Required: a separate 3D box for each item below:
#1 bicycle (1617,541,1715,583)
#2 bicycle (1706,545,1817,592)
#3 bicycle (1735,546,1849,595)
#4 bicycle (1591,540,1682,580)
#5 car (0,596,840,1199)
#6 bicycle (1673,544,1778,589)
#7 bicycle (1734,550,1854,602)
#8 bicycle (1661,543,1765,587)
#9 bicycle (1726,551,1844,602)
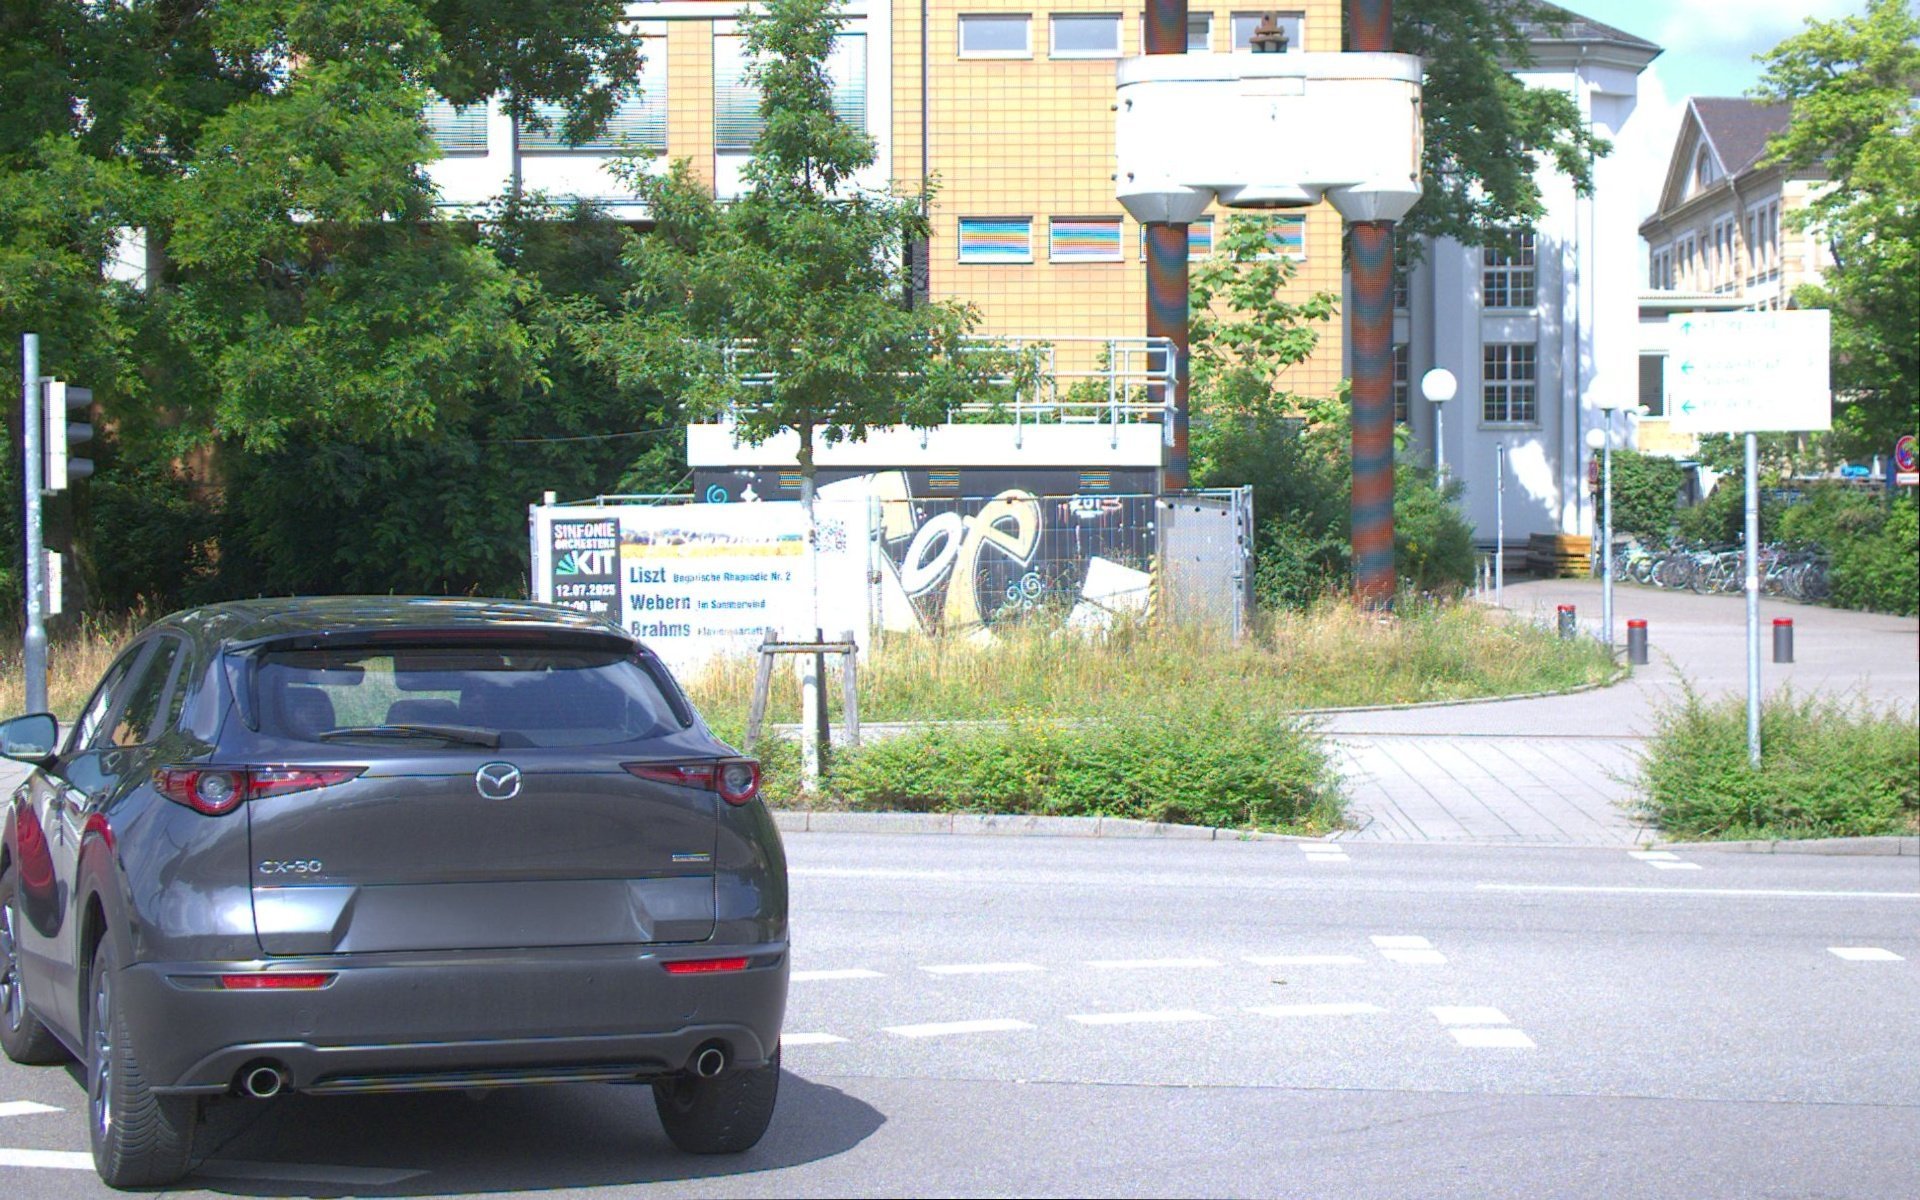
[{"bbox_3d":[15.909,-0.850,77.534,2.055,0.933,0.804,0,1,2],"label":"bicycle"},{"bbox_3d":[16.153,-0.631,69.299,2.055,0.933,0.804,0,1,2],"label":"bicycle"},{"bbox_3d":[16.434,-0.587,67.947,2.055,0.933,0.804,0,1,2],"label":"bicycle"},{"bbox_3d":[16.205,-0.967,82.383,2.055,0.933,0.804,0,1,2],"label":"bicycle"},{"bbox_3d":[-1.849,0.758,10.256,1.805,1.503,4.206,0,0,-19],"label":"car"},{"bbox_3d":[16.203,-0.718,72.765,2.055,0.933,0.804,0,1,2],"label":"bicycle"},{"bbox_3d":[15.463,-0.447,63.777,2.055,0.933,0.804,0,1,2],"label":"bicycle"},{"bbox_3d":[16.156,-0.747,73.780,2.055,0.933,0.804,0,1,2],"label":"bicycle"},{"bbox_3d":[15.669,-0.448,65.344,2.055,0.933,0.804,0,1,2],"label":"bicycle"}]
